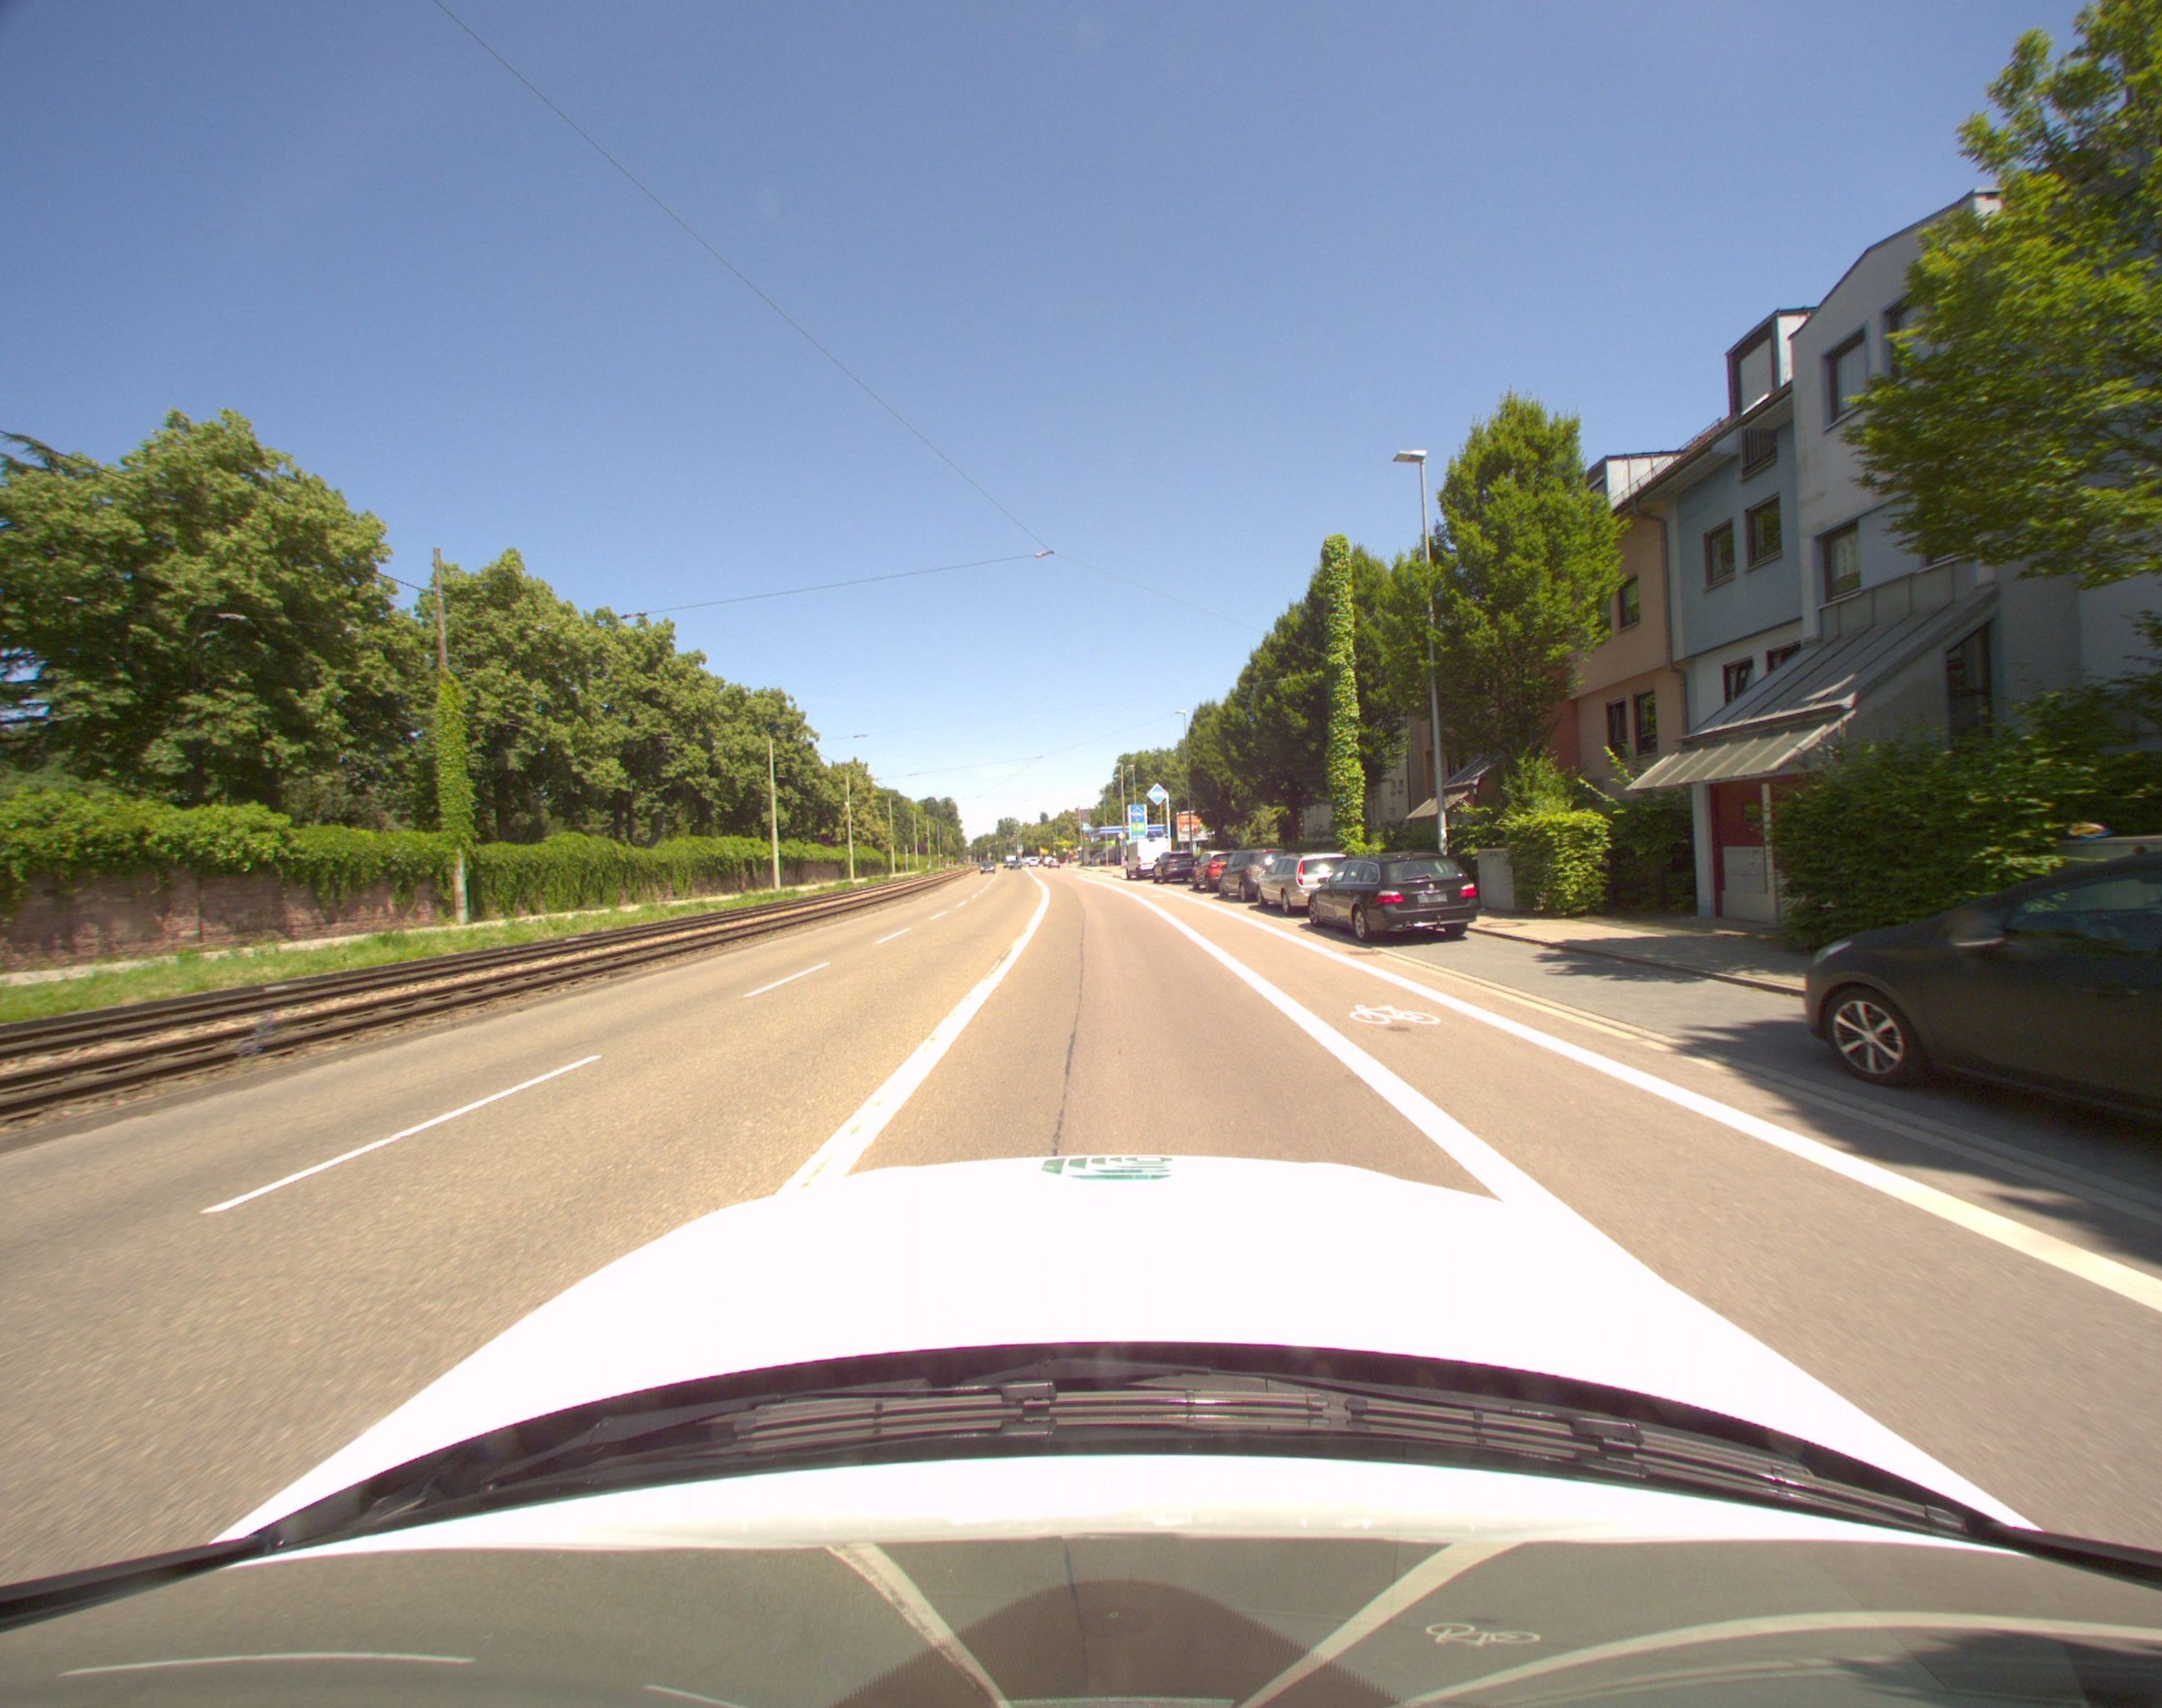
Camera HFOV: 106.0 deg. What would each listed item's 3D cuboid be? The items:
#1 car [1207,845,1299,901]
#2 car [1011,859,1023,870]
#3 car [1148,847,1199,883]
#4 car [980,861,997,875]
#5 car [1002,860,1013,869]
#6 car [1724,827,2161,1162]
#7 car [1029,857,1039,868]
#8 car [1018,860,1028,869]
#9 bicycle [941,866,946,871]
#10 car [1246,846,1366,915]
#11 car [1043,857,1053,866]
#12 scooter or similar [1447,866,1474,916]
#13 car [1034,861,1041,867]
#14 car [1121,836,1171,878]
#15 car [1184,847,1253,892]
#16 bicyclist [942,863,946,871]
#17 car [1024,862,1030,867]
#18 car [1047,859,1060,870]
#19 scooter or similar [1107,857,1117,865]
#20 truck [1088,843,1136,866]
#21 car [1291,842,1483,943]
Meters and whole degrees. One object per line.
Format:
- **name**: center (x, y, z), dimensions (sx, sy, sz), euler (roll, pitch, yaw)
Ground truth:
- **car**: center (5.522, 0.581, 26.694), dimensions (1.704, 1.562, 4.316), euler (-4, 0, -5)
- **car**: center (-10.195, 1.659, 129.518), dimensions (1.753, 1.630, 4.316), euler (-4, 0, -5)
- **car**: center (4.762, 0.561, 42.679), dimensions (1.753, 1.630, 4.316), euler (-4, 0, -5)
- **car**: center (-11.115, 1.638, 98.274), dimensions (1.753, 1.509, 4.316), euler (-4, 0, -5)
- **car**: center (-14.135, 2.031, 156.738), dimensions (1.756, 1.630, 4.308), euler (-4, 0, -10)
- **car**: center (5.558, 0.605, 3.954), dimensions (1.578, 1.423, 4.181), euler (-4, 0, 2)
- **car**: center (-9.279, 1.693, 162.117), dimensions (1.753, 1.875, 4.316), euler (-4, 0, -5)
- **car**: center (-11.334, 2.081, 159.554), dimensions (1.752, 1.630, 4.318), euler (-4, 0, -3)
- **bicycle**: center (-30.821, 3.334, 183.050), dimensions (0.679, 1.054, 2.007), euler (-6, -1, -2)
- **car**: center (5.719, 0.629, 21.314), dimensions (1.702, 1.492, 4.729), euler (-4, 0, -1)
- **car**: center (-6.644, 1.533, 163.480), dimensions (1.753, 1.630, 4.316), euler (-4, 0, -5)
- **scooter or similar**: center (8.201, 0.781, 17.609), dimensions (0.331, 1.031, 1.087), euler (0, -1, 15)
- **car**: center (-12.457, 2.848, 234.108), dimensions (1.753, 1.630, 4.316), euler (-4, 0, -5)
- **car**: center (4.113, 0.209, 52.868), dimensions (1.998, 2.457, 6.096), euler (-4, 0, -6)
- **car**: center (5.429, 0.595, 32.633), dimensions (1.703, 1.562, 4.318), euler (-4, 0, -4)
- **bicyclist**: center (-30.860, 2.951, 183.066), dimensions (0.680, 1.574, 0.795), euler (-6, -1, -2)
- **car**: center (-17.031, 3.274, 254.928), dimensions (1.753, 1.630, 4.316), euler (-4, 0, -5)
- **car**: center (-4.427, 1.640, 130.765), dimensions (1.753, 1.630, 4.316), euler (-4, 0, -5)
- **scooter or similar**: center (5.347, 1.142, 141.013), dimensions (1.551, 1.328, 0.535), euler (-2, 0, -7)
- **truck**: center (5.141, 0.121, 137.018), dimensions (7.940, 3.602, 2.663), euler (-2, 0, 1)
- **car**: center (5.527, 0.612, 15.501), dimensions (1.701, 1.492, 5.038), euler (-4, 0, 0)
